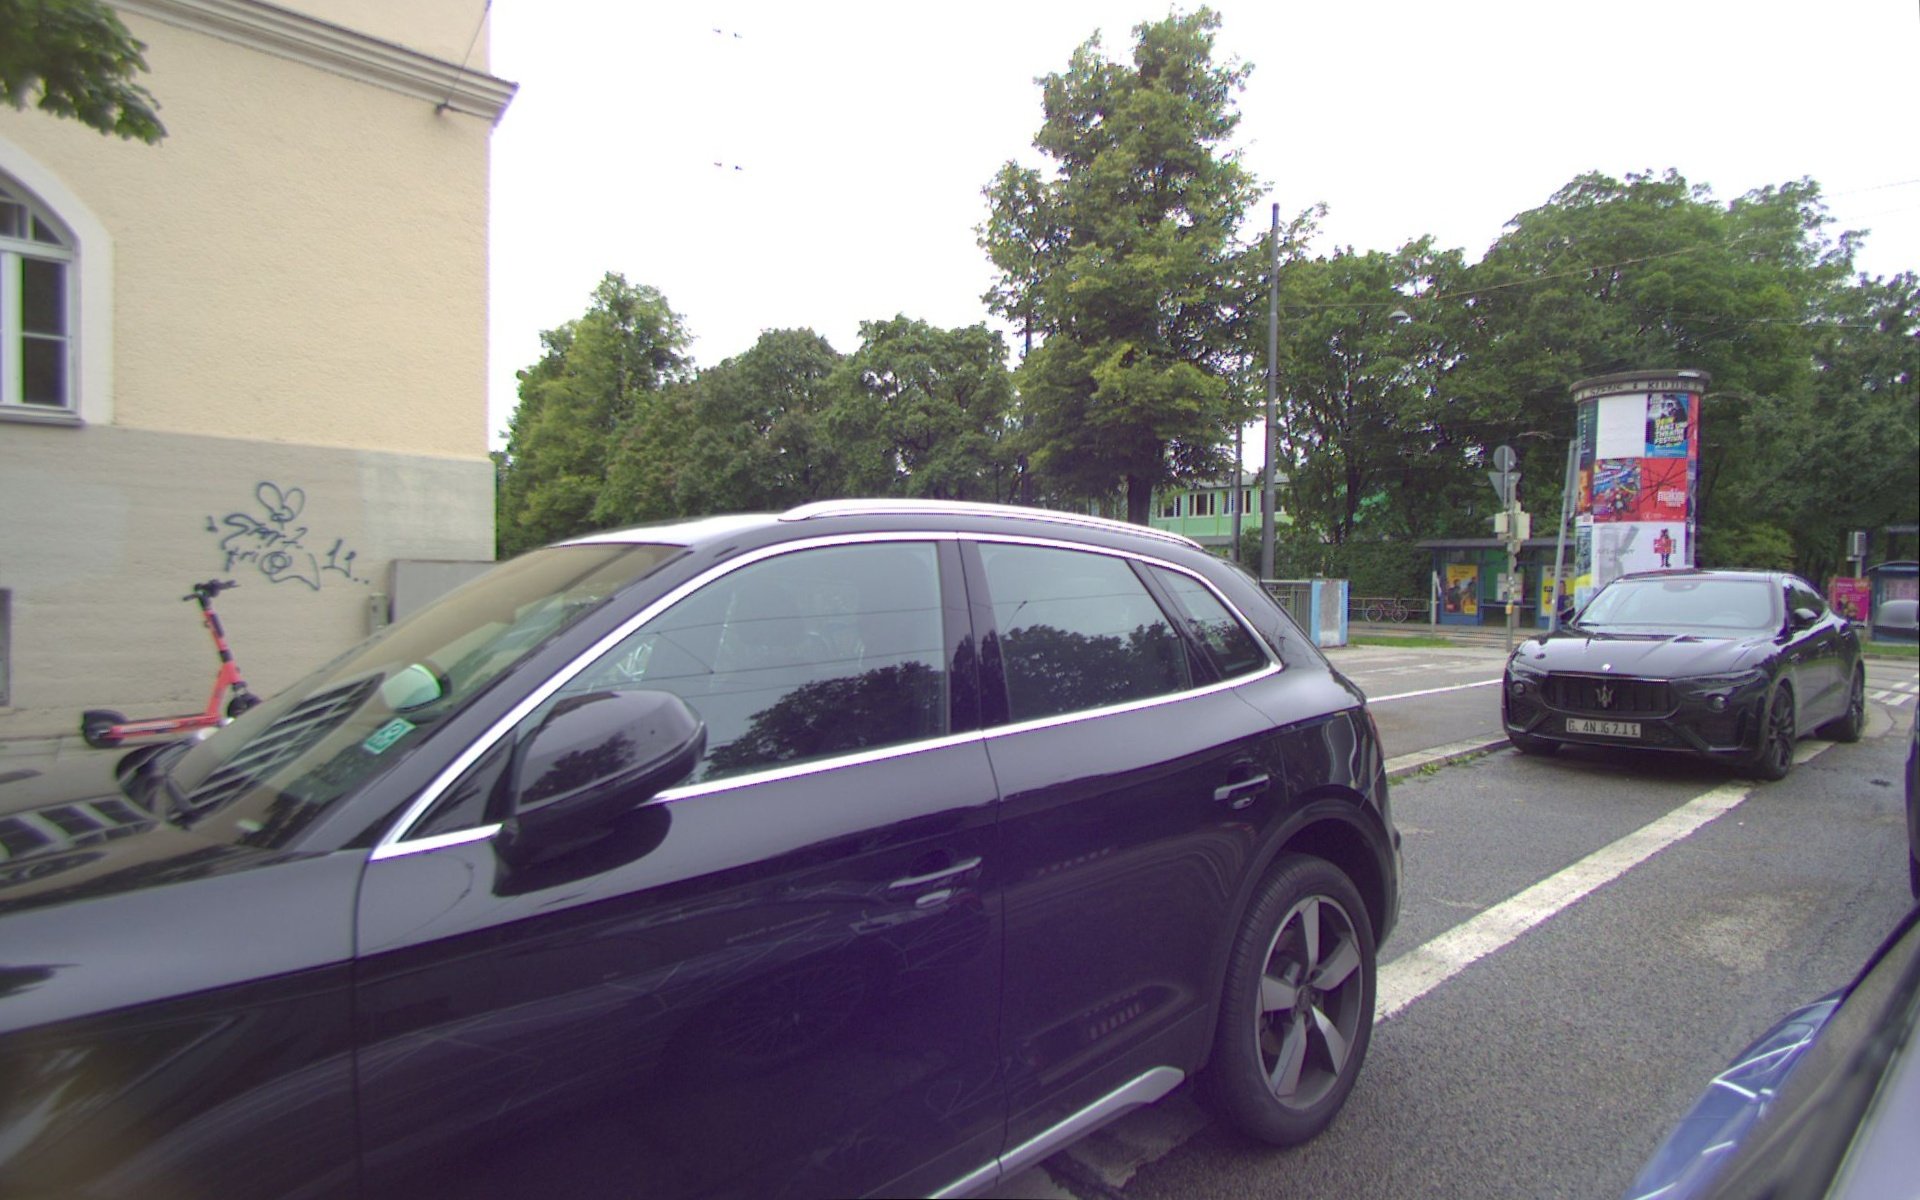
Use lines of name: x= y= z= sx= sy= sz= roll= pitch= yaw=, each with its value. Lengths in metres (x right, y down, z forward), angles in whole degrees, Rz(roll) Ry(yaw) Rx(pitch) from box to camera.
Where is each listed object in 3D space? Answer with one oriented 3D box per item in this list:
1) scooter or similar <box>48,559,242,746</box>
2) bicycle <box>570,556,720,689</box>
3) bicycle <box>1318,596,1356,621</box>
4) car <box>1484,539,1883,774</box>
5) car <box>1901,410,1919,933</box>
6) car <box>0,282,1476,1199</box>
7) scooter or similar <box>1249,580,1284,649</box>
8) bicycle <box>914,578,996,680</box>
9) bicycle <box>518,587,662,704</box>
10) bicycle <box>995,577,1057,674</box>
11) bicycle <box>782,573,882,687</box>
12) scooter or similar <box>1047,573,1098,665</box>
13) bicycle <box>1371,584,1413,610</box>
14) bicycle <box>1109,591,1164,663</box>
scooter or similar: x=-6.160 y=0.367 z=7.687 sx=0.261 sy=1.329 sz=1.124 roll=-1 pitch=0 yaw=44
bicycle: x=-3.319 y=0.216 z=10.750 sx=1.511 sy=1.329 sz=0.332 roll=-1 pitch=0 yaw=-42
bicycle: x=15.171 y=0.320 z=40.762 sx=0.366 sy=0.964 sz=1.483 roll=0 pitch=1 yaw=-38
car: x=6.749 y=0.395 z=9.239 sx=4.582 sy=1.630 sz=1.904 roll=0 pitch=0 yaw=-40
car: x=6.491 y=0.282 z=5.250 sx=5.612 sy=2.078 sz=1.901 roll=-1 pitch=2 yaw=-43
car: x=-0.621 y=0.506 z=2.448 sx=4.408 sy=1.679 sz=1.778 roll=-1 pitch=1 yaw=-40
scooter or similar: x=5.559 y=0.248 z=18.348 sx=0.224 sy=1.227 sz=1.006 roll=-1 pitch=0 yaw=40
bicycle: x=-0.049 y=0.356 z=13.503 sx=0.281 sy=1.298 sz=1.391 roll=-1 pitch=0 yaw=38
bicycle: x=-3.751 y=0.429 z=10.342 sx=0.286 sy=1.120 sz=1.421 roll=1 pitch=1 yaw=42
bicycle: x=0.939 y=0.338 z=14.182 sx=0.280 sy=1.298 sz=1.395 roll=-1 pitch=0 yaw=29
bicycle: x=-1.515 y=0.335 z=12.126 sx=0.281 sy=1.298 sz=1.391 roll=-1 pitch=0 yaw=38
scooter or similar: x=1.667 y=0.257 z=14.830 sx=0.242 sy=1.279 sz=1.482 roll=-1 pitch=0 yaw=27
bicycle: x=16.591 y=-0.112 z=38.859 sx=0.366 sy=0.964 sz=1.483 roll=0 pitch=1 yaw=-38
bicycle: x=2.814 y=0.404 z=16.062 sx=0.263 sy=1.096 sz=1.524 roll=-1 pitch=0 yaw=34
